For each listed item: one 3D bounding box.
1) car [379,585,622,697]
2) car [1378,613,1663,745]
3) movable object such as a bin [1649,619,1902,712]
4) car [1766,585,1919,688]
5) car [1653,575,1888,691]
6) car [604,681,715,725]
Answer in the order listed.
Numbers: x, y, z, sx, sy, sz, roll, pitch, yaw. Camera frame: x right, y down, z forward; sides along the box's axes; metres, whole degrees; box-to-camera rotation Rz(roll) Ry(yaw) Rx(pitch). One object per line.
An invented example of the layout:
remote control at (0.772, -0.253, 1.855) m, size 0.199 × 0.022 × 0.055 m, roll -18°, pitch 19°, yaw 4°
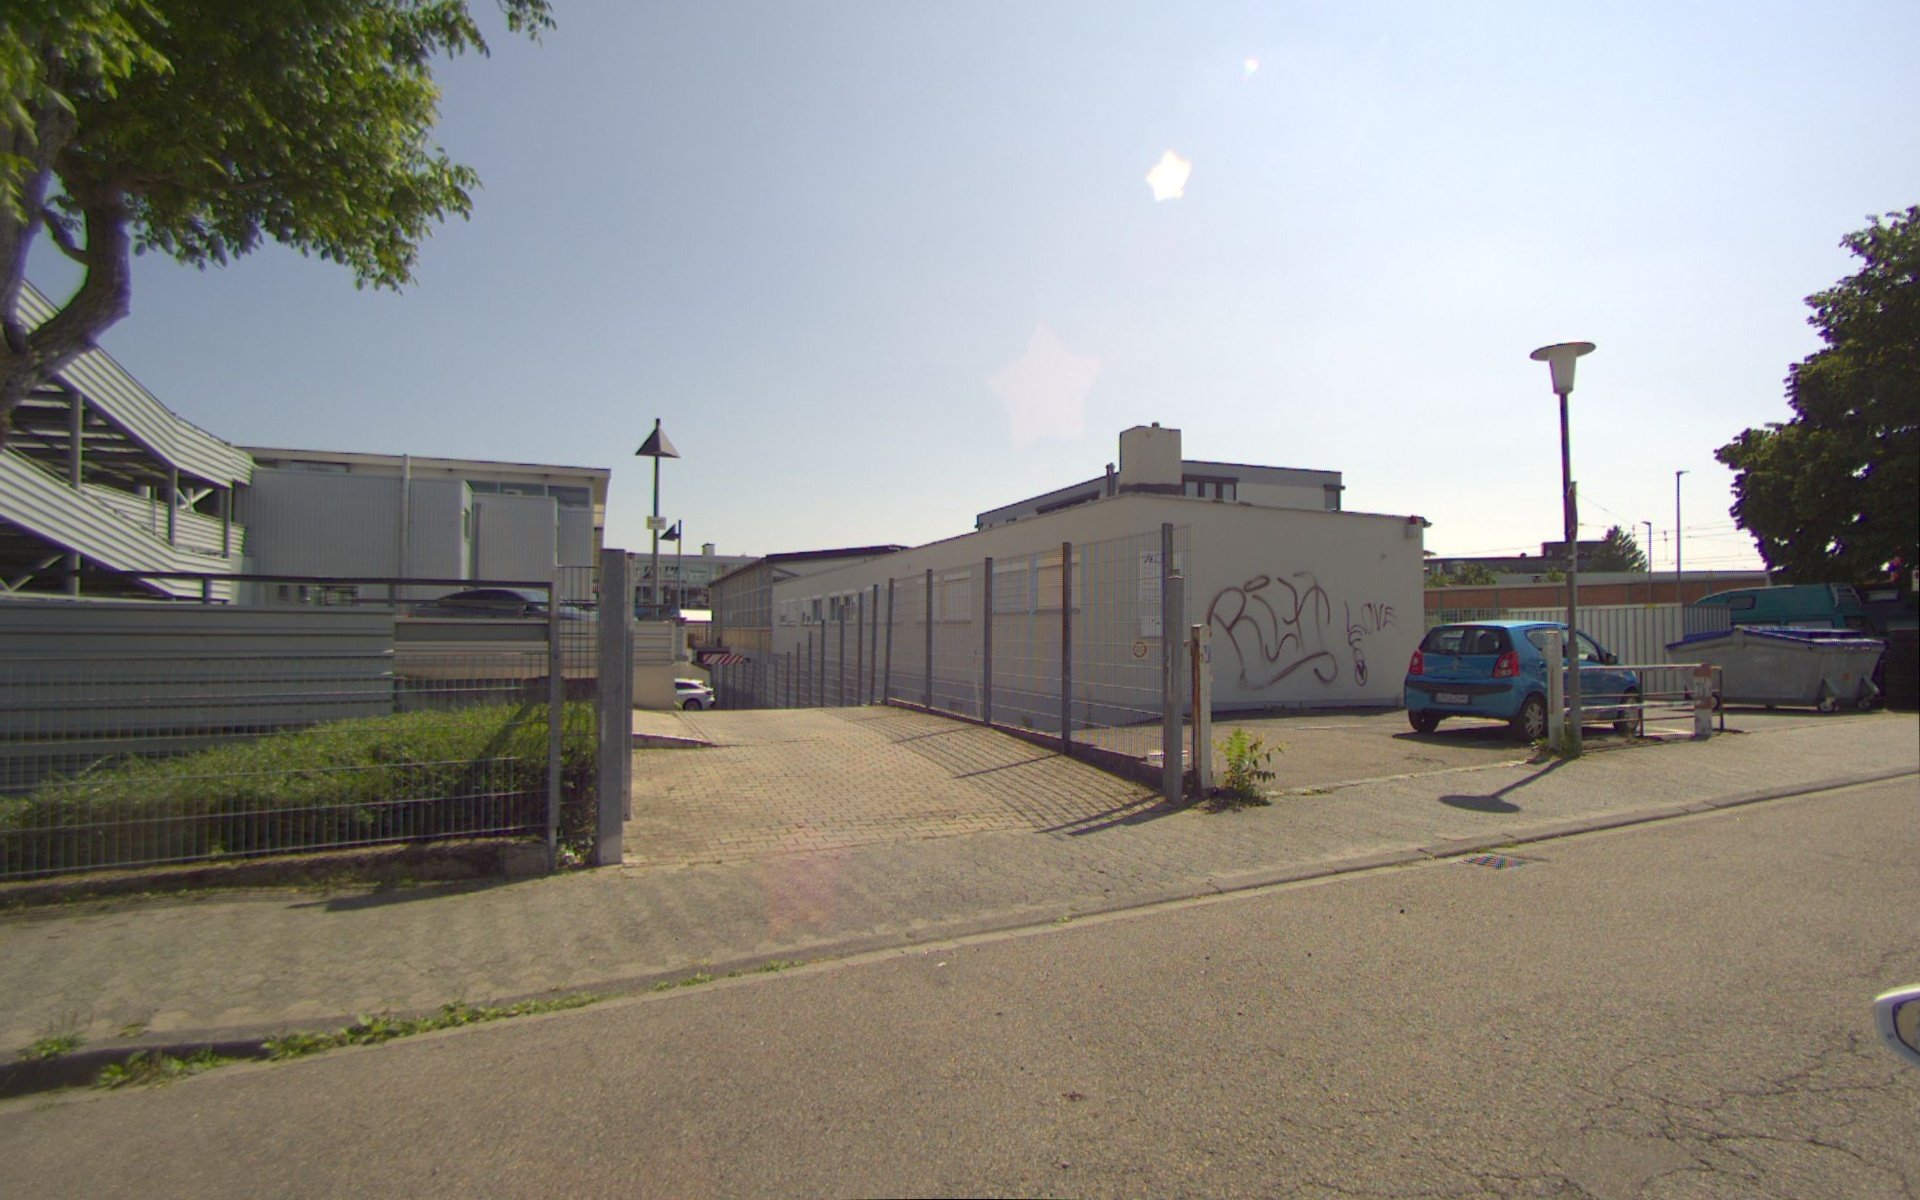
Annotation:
car at (-9.099, 0.850, 20.146) m, size 3.920 × 2.039 × 2.001 m, roll -1°, pitch -4°, yaw 2°
car at (7.581, 1.002, 13.556) m, size 3.634 × 1.550 × 1.805 m, roll 1°, pitch -3°, yaw -32°
movable object such as a bin at (14.706, 1.142, 18.212) m, size 2.690 × 1.530 × 2.620 m, roll 1°, pitch -2°, yaw -24°
car at (23.831, 0.943, 26.171) m, size 1.757 × 2.546 × 4.065 m, roll 1°, pitch -2°, yaw -31°
car at (19.440, 0.792, 24.268) m, size 1.757 × 2.546 × 4.065 m, roll 1°, pitch -2°, yaw -31°
car at (-12.190, 4.142, 40.801) m, size 4.171 × 1.548 × 1.543 m, roll 1°, pitch -2°, yaw -25°
